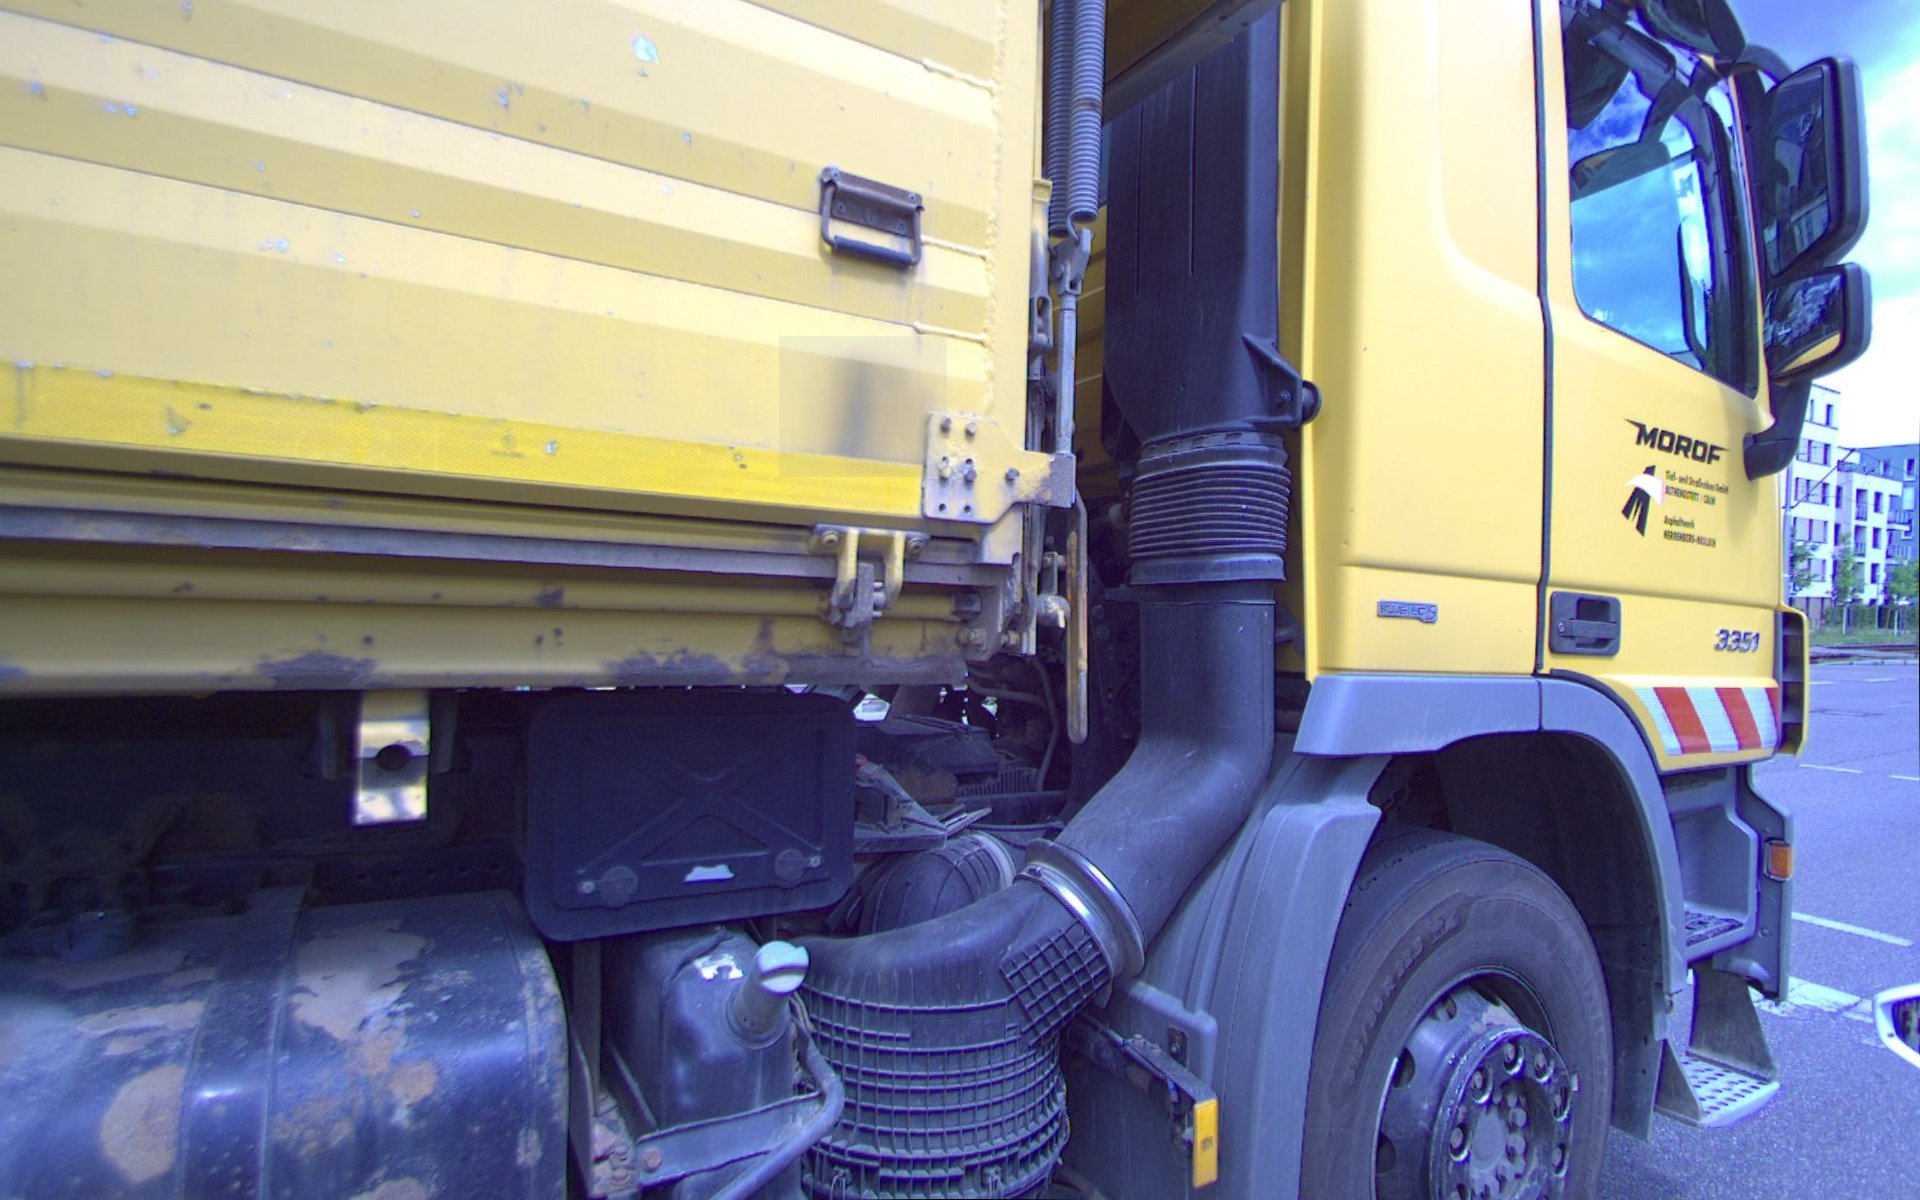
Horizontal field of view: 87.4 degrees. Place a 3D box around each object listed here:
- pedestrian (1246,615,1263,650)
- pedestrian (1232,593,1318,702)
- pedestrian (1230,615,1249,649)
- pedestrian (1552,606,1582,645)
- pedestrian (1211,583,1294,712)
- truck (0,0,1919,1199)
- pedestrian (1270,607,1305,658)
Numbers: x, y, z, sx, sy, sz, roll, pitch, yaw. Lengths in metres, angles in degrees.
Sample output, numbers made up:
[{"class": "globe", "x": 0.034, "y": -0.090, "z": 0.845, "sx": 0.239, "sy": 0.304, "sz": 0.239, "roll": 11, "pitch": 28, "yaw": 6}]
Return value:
[{"class": "pedestrian", "x": 9.889, "y": 1.077, "z": 33.748, "sx": 0.434, "sy": 1.143, "sz": 0.373, "roll": 2, "pitch": 0, "yaw": 29}, {"class": "pedestrian", "x": 4.849, "y": 0.711, "z": 15.482, "sx": 0.897, "sy": 1.618, "sz": 0.888, "roll": 1, "pitch": 0, "yaw": -30}, {"class": "pedestrian", "x": 9.515, "y": 1.071, "z": 34.161, "sx": 0.496, "sy": 1.139, "sz": 0.421, "roll": 2, "pitch": 0, "yaw": 29}, {"class": "pedestrian", "x": 24.753, "y": 1.029, "z": 40.945, "sx": 0.628, "sy": 1.536, "sz": 0.827, "roll": 1, "pitch": 0, "yaw": -30}, {"class": "pedestrian", "x": 4.170, "y": 0.653, "z": 14.335, "sx": 0.818, "sy": 1.766, "sz": 0.778, "roll": 1, "pitch": 0, "yaw": -30}, {"class": "truck", "x": -1.712, "y": -0.259, "z": 1.629, "sx": 7.916, "sy": 3.439, "sz": 3.033, "roll": 1, "pitch": 0, "yaw": -32}, {"class": "pedestrian", "x": 10.869, "y": 1.066, "z": 33.352, "sx": 1.048, "sy": 1.670, "sz": 0.708, "roll": 1, "pitch": 0, "yaw": 18}]
